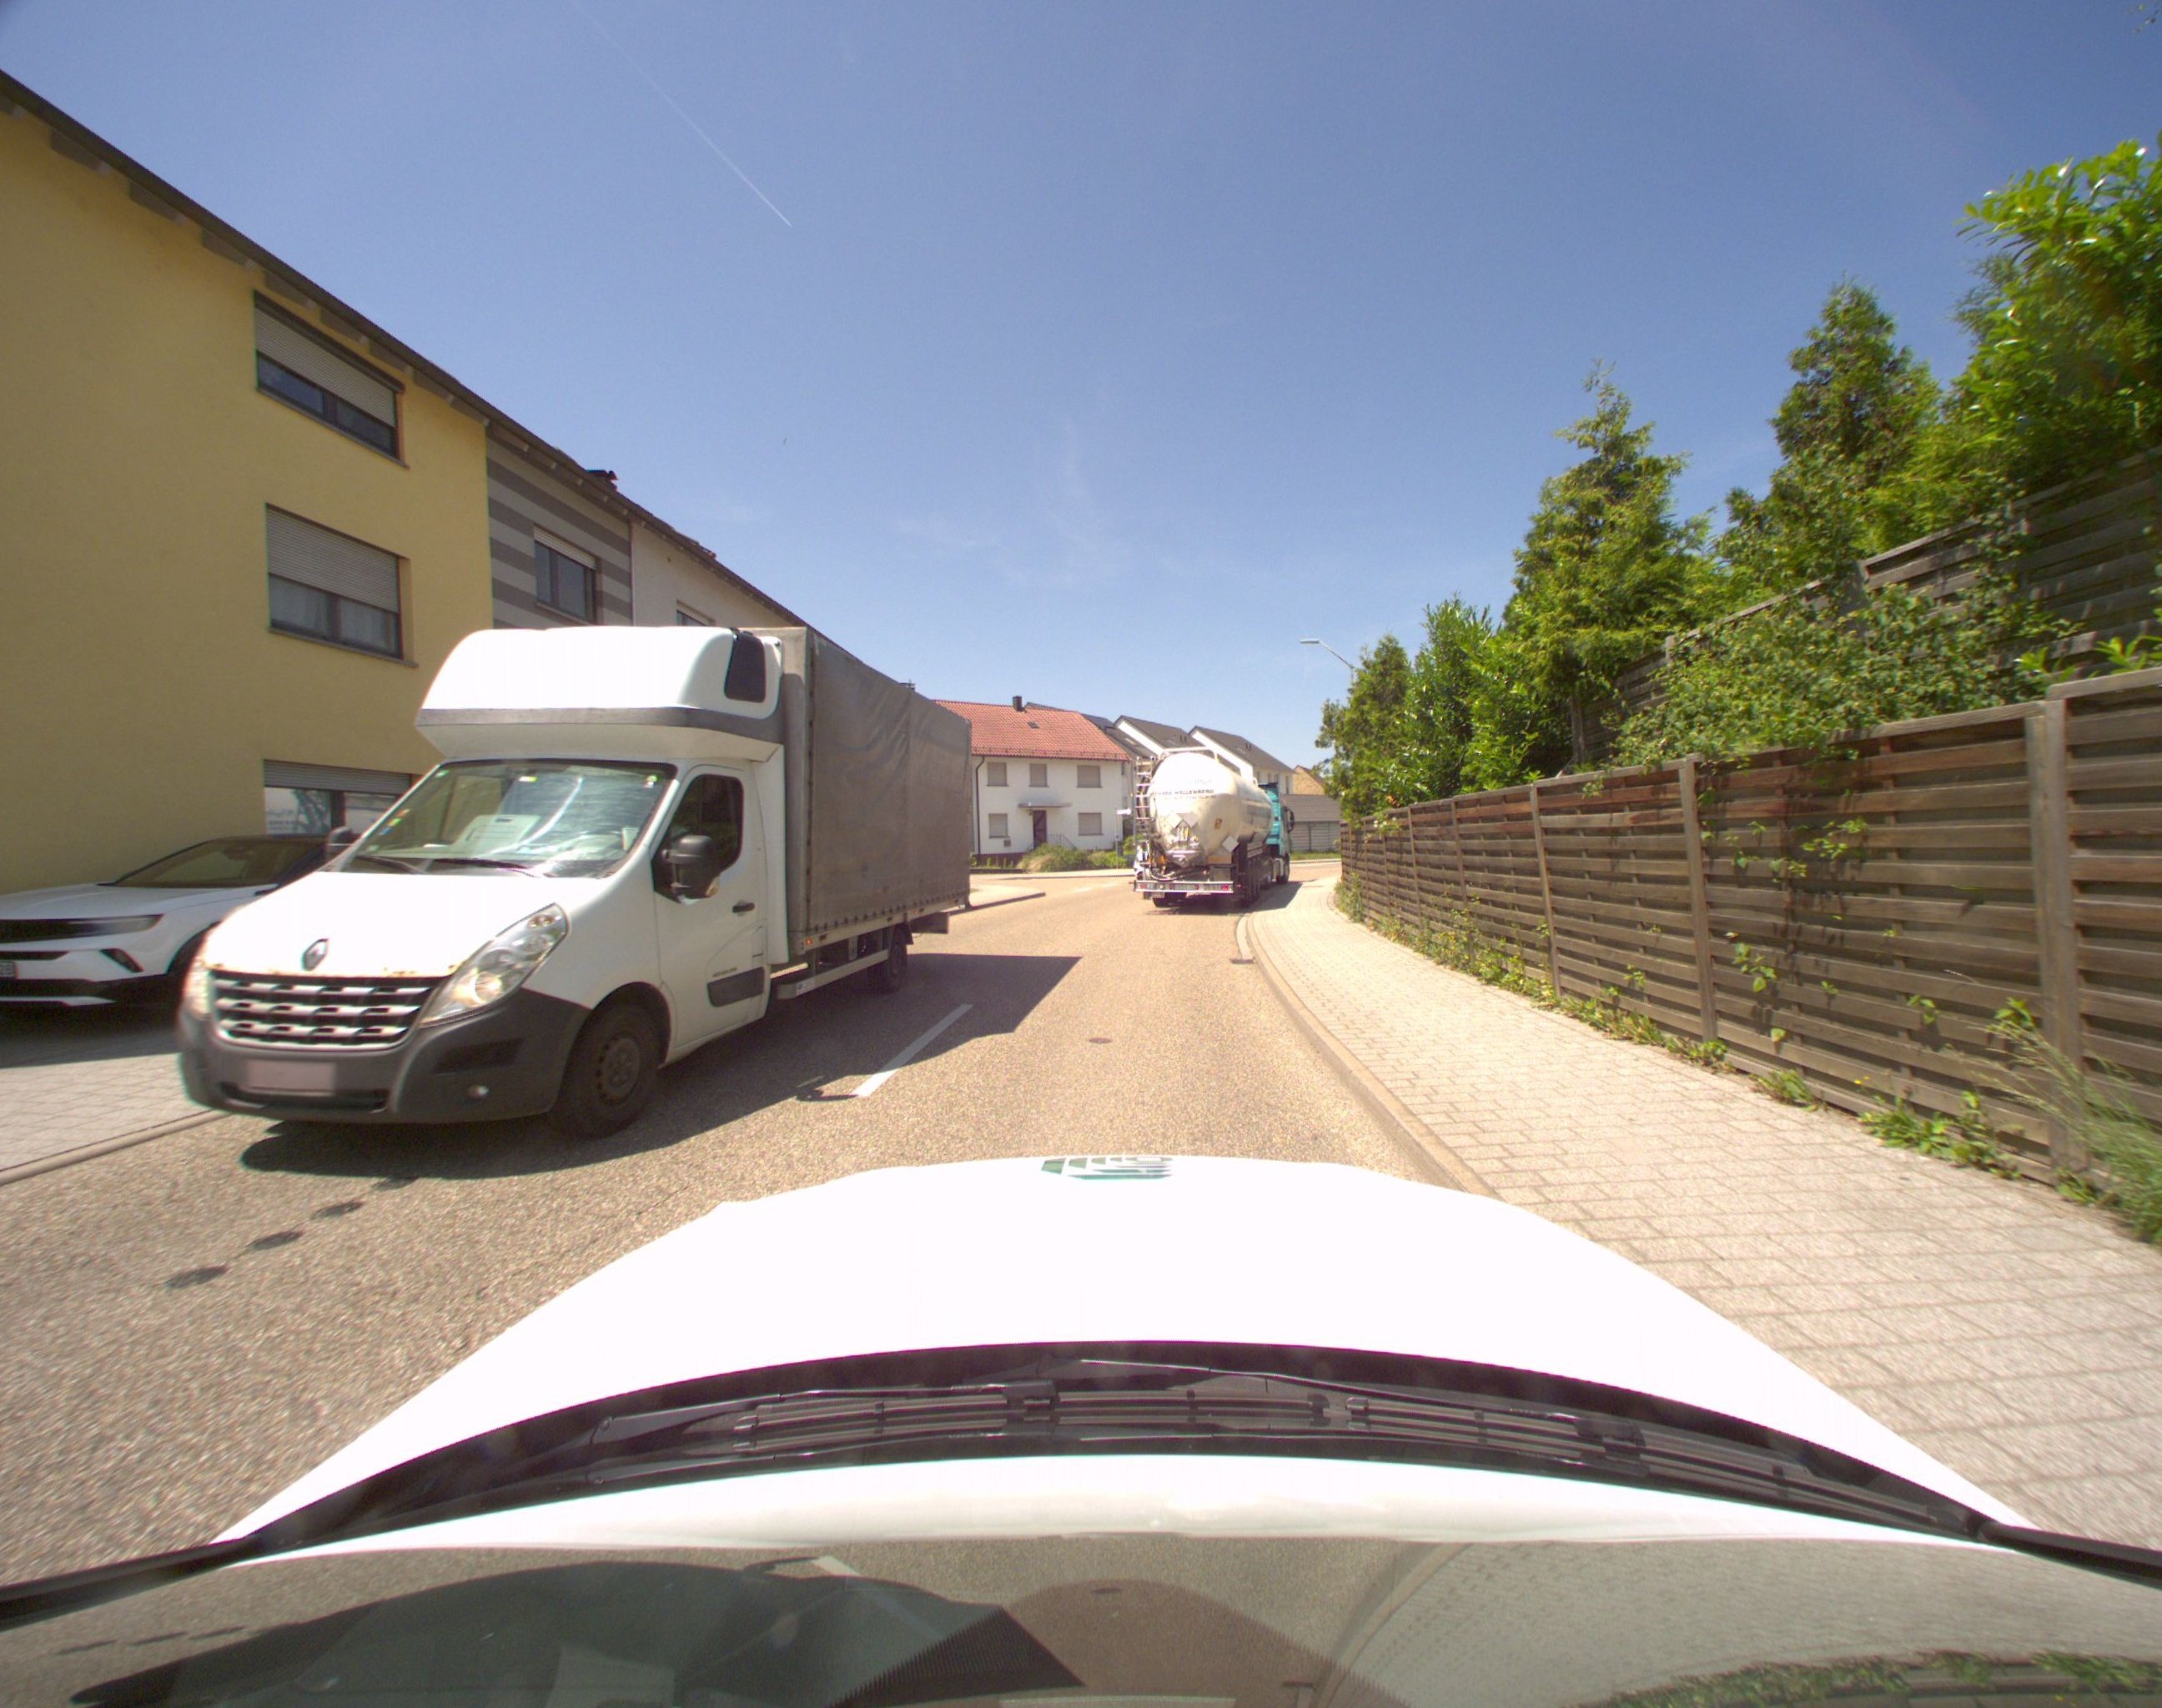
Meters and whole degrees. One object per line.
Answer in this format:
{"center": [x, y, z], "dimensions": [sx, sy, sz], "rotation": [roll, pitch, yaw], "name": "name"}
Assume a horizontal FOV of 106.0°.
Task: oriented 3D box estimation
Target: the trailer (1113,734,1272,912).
{"center": [3.798, -0.749, 24.046], "dimensions": [2.930, 3.947, 11.669], "rotation": [-1, 1, 16], "name": "trailer"}

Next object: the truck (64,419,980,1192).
{"center": [-3.051, -0.254, 7.455], "dimensions": [2.454, 3.367, 7.630], "rotation": [1, 0, 6], "name": "truck"}

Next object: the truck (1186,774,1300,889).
{"center": [6.448, -0.822, 31.703], "dimensions": [2.960, 3.965, 5.611], "rotation": [-3, 0, 25], "name": "truck"}

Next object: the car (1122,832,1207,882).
{"center": [3.737, 0.032, 35.450], "dimensions": [1.975, 1.999, 5.246], "rotation": [1, 2, 26], "name": "car"}

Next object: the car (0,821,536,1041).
{"center": [-7.666, 0.539, 7.889], "dimensions": [1.723, 1.552, 4.193], "rotation": [-1, 0, 3], "name": "car"}
